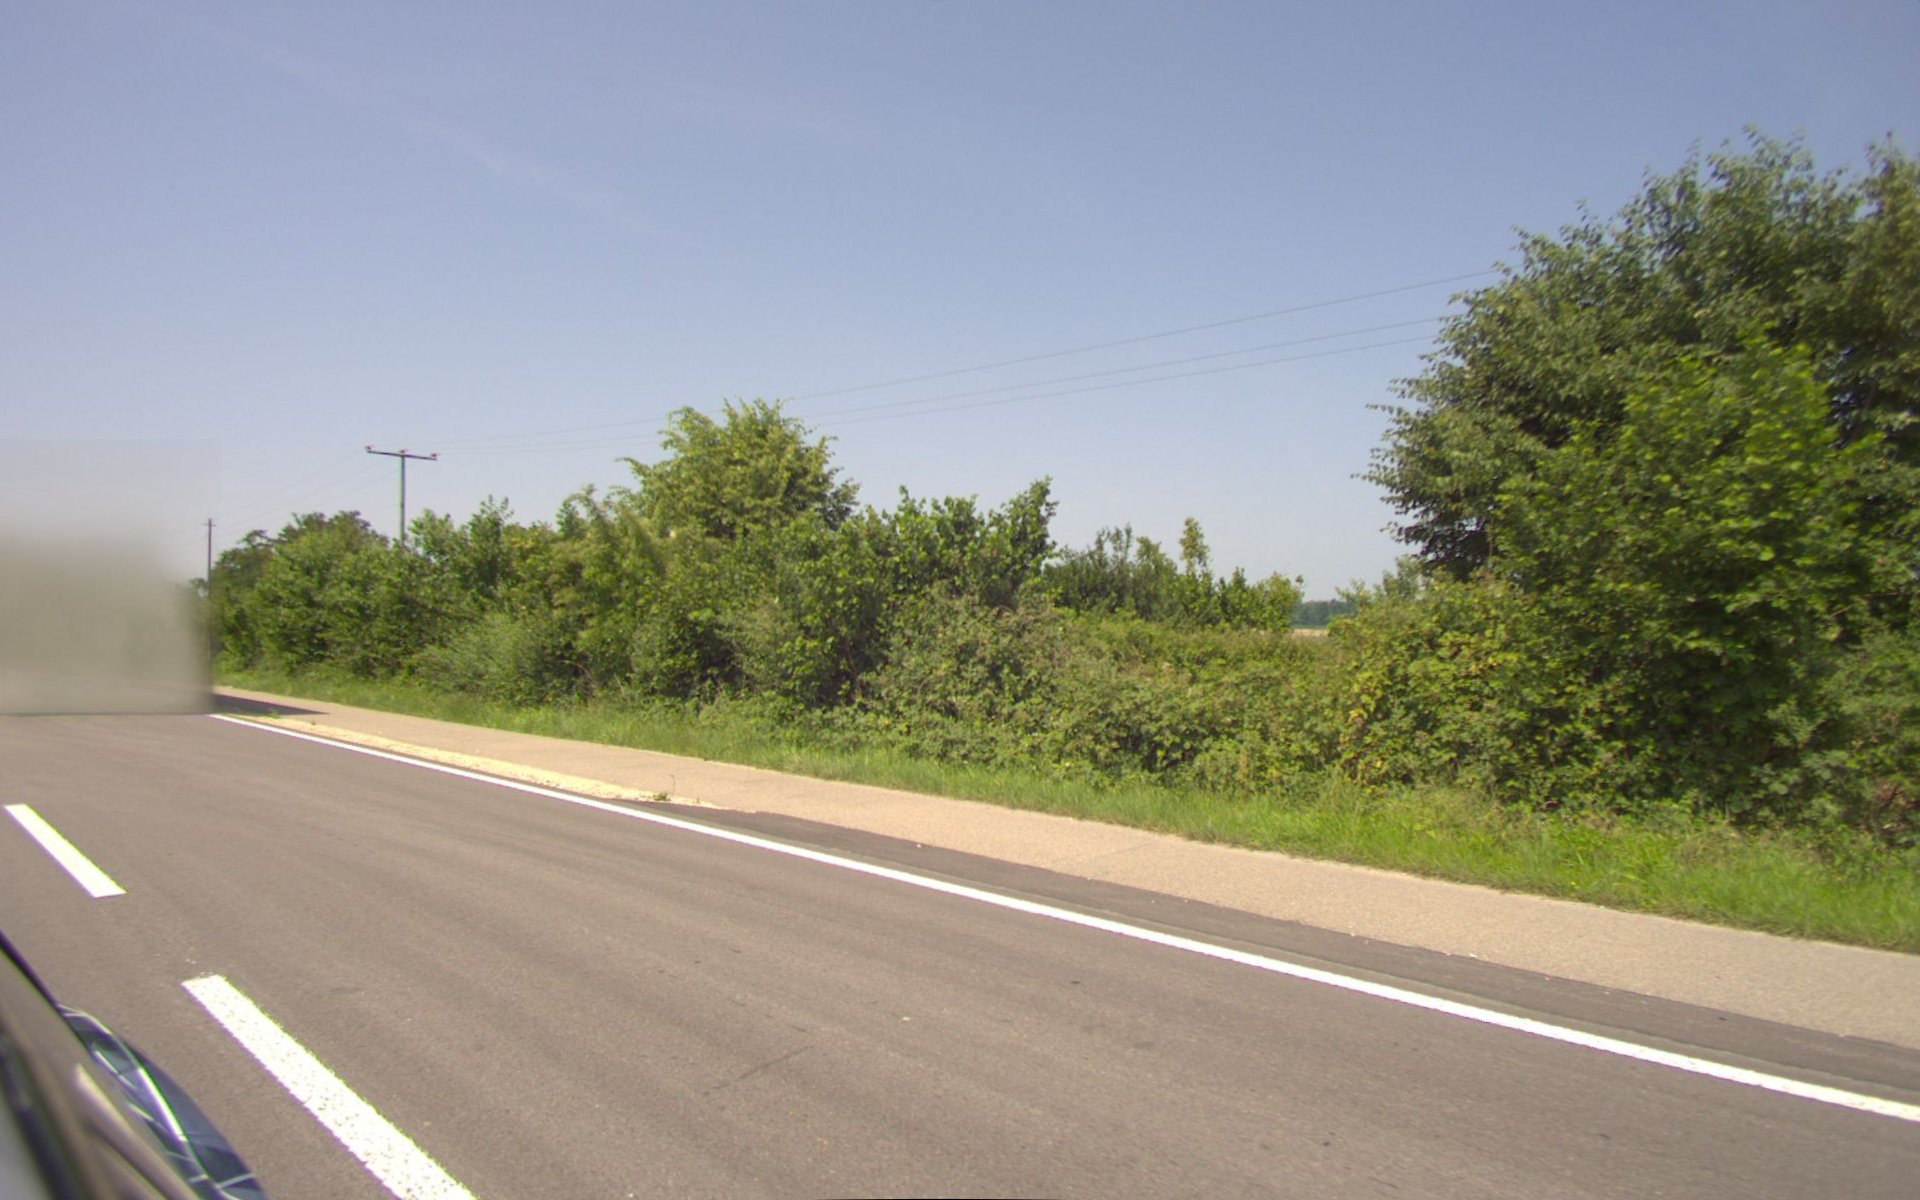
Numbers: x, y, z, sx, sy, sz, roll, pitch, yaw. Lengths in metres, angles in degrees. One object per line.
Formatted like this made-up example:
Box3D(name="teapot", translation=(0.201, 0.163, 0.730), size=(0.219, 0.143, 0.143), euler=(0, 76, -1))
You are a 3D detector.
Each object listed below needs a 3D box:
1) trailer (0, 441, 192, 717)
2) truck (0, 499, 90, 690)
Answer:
Box3D(name="trailer", translation=(-19.442, -0.165, 21.088), size=(13.803, 4.299, 2.688), euler=(-1, -3, 41))
Box3D(name="truck", translation=(-24.375, -0.049, 25.414), size=(7.386, 4.299, 2.688), euler=(-1, -3, 41))
